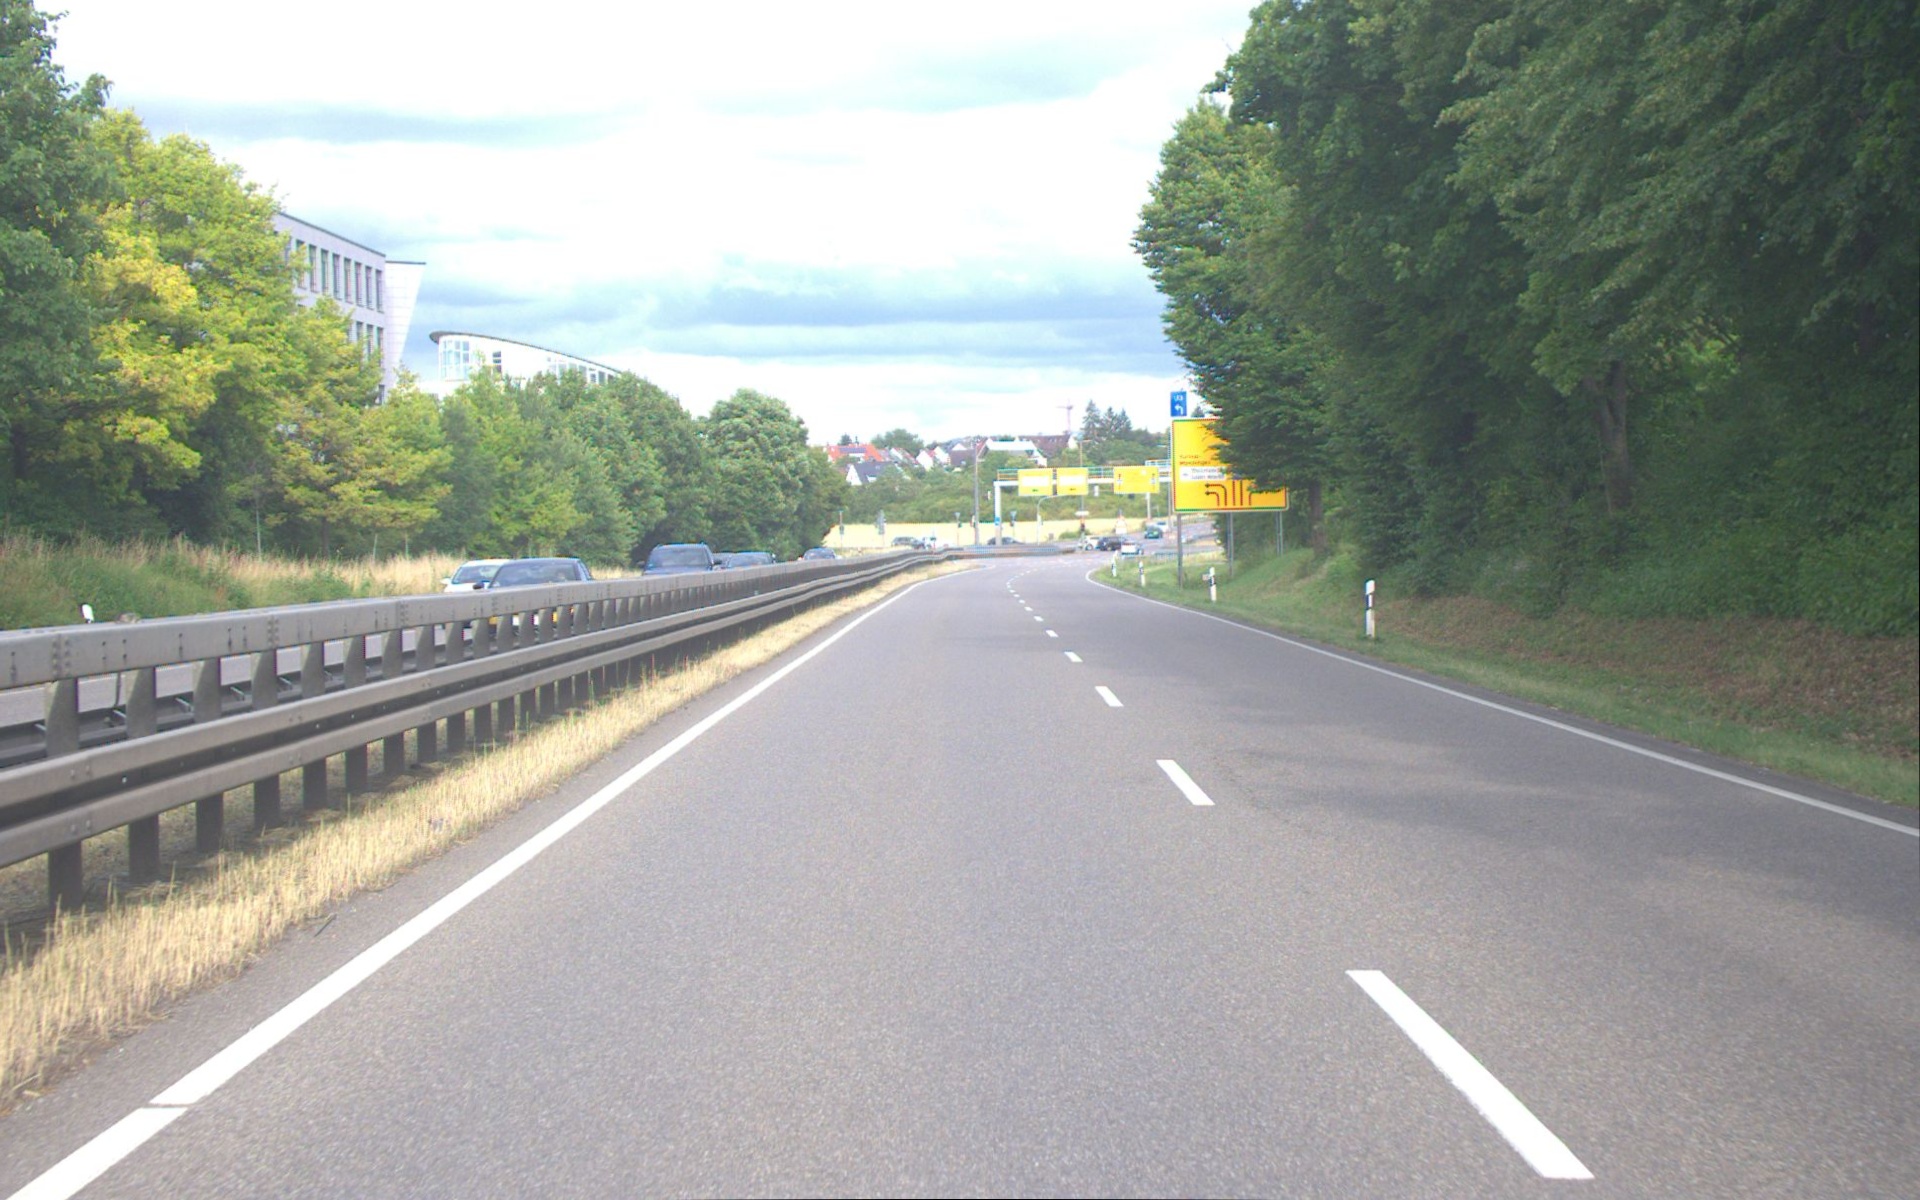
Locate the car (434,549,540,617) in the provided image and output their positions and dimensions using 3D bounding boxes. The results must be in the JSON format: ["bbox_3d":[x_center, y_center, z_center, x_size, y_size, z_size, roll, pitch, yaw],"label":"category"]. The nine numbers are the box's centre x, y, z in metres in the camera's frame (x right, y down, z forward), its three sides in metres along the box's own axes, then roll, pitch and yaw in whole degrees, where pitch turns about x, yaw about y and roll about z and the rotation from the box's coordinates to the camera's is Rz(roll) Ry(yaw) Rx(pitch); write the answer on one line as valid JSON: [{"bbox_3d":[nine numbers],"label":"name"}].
[{"bbox_3d":[-10.642,-0.401,77.625,1.817,1.480,4.417,0,1,0],"label":"car"}]

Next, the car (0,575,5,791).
[{"bbox_3d":[-6.925,0.460,19.399,1.821,1.578,4.316,-1,1,0],"label":"car"}]

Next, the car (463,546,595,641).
[{"bbox_3d":[-6.914,-0.127,55.462,1.591,1.442,4.000,-1,1,0],"label":"car"}]

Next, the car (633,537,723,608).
[{"bbox_3d":[-6.901,-0.701,84.615,1.742,1.639,5.280,-1,1,0],"label":"car"}]
